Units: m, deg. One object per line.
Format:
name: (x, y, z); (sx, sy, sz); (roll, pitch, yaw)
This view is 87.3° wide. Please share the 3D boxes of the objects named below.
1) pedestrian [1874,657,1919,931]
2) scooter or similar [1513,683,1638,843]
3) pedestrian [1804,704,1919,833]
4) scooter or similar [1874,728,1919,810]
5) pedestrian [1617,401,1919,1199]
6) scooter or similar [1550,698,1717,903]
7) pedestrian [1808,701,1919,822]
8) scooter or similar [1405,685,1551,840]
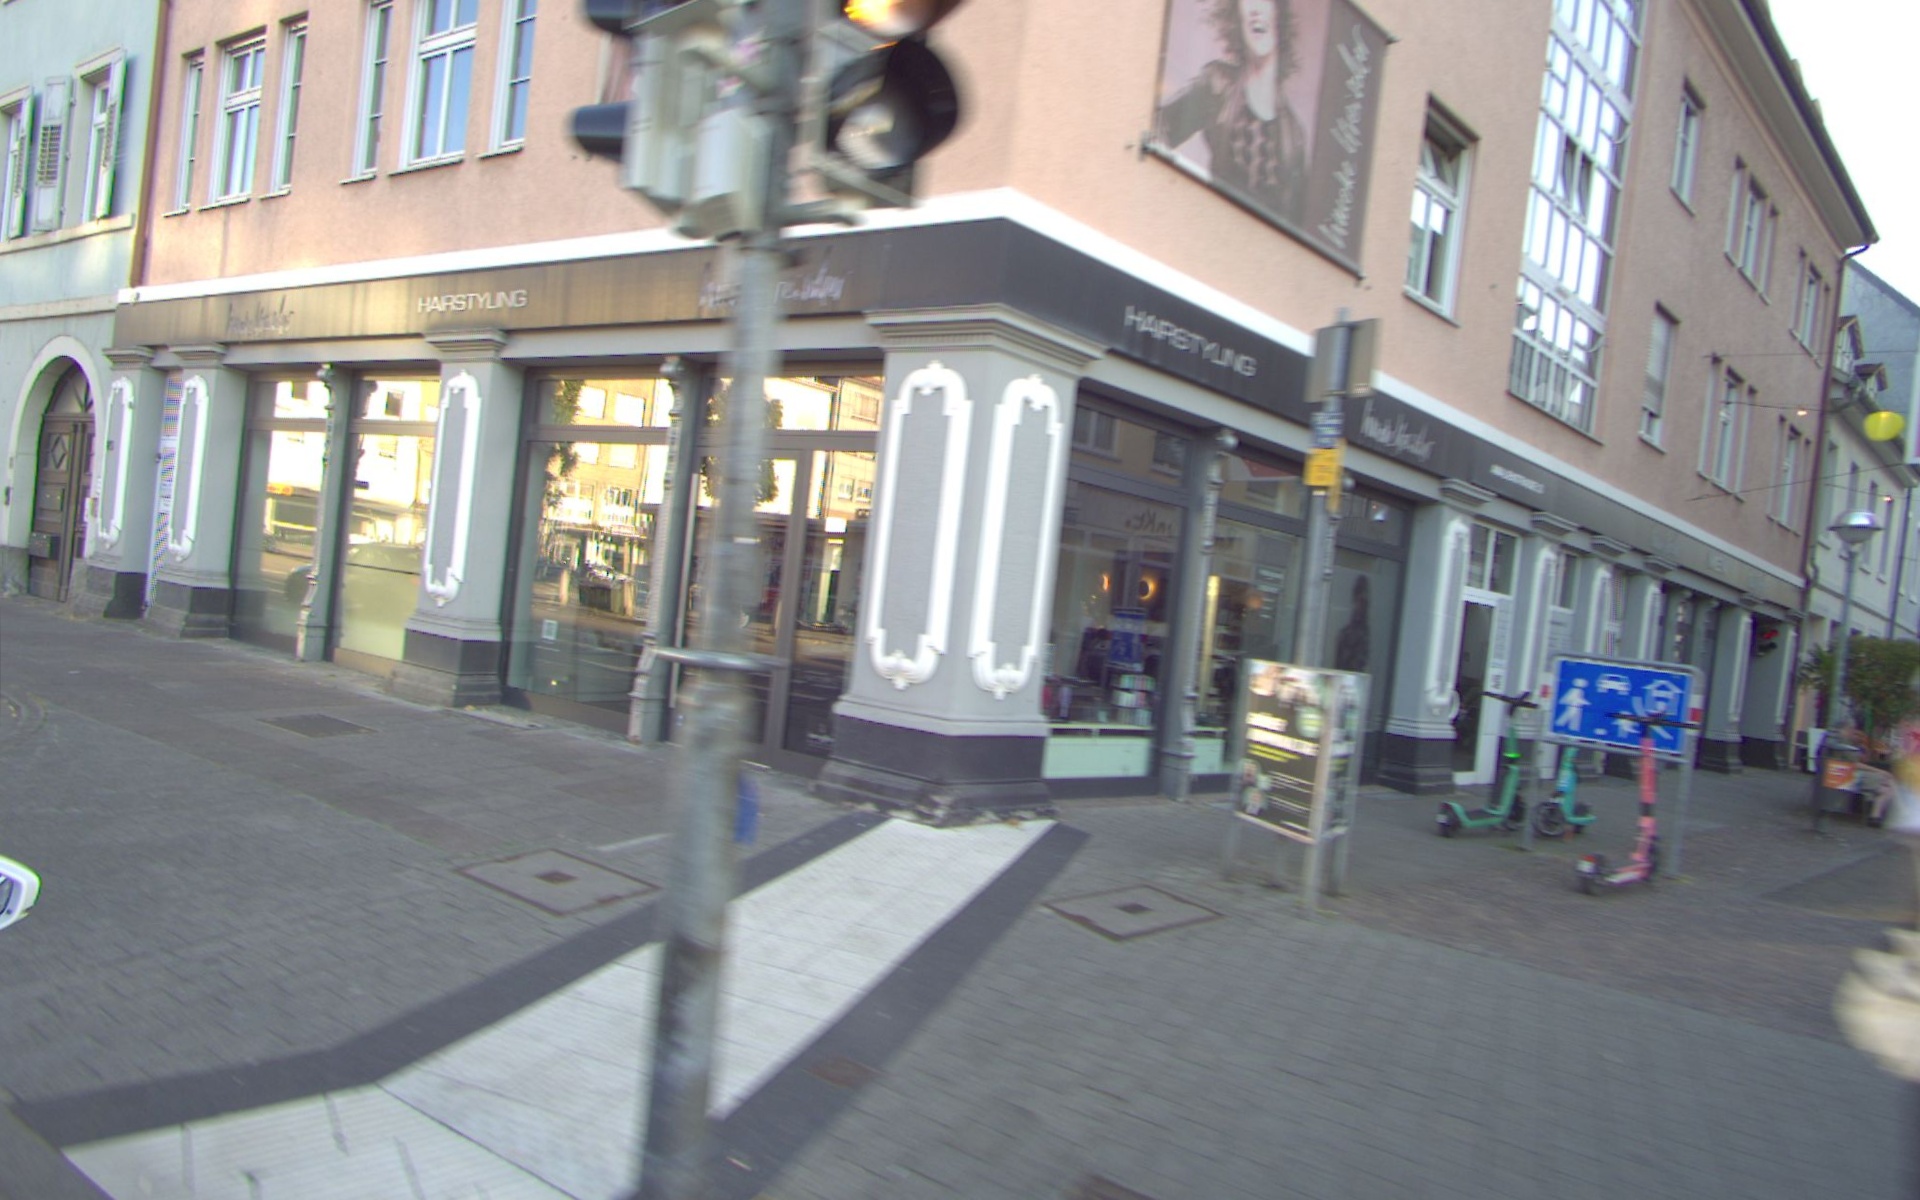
pedestrian: (6.771, 1.318, 6.476); (0.811, 1.797, 1.100); (7, 1, 22)
scooter or similar: (5.377, 1.413, 8.773); (1.192, 1.276, 0.360); (6, 1, -35)
pedestrian: (12.016, 2.187, 13.150); (1.209, 1.430, 0.889); (9, 2, 31)
scooter or similar: (15.215, 2.700, 15.725); (0.388, 1.199, 1.303); (6, 1, -11)
pedestrian: (1.780, 0.697, 1.586); (0.810, 1.922, 0.941); (6, 1, 9)
scooter or similar: (4.608, 1.331, 6.858); (1.247, 1.229, 0.463); (6, 1, -38)
pedestrian: (12.762, 2.230, 13.971); (1.209, 1.430, 0.889); (9, 2, 31)
scooter or similar: (4.254, 1.325, 8.232); (1.292, 1.157, 0.360); (6, 1, -33)
